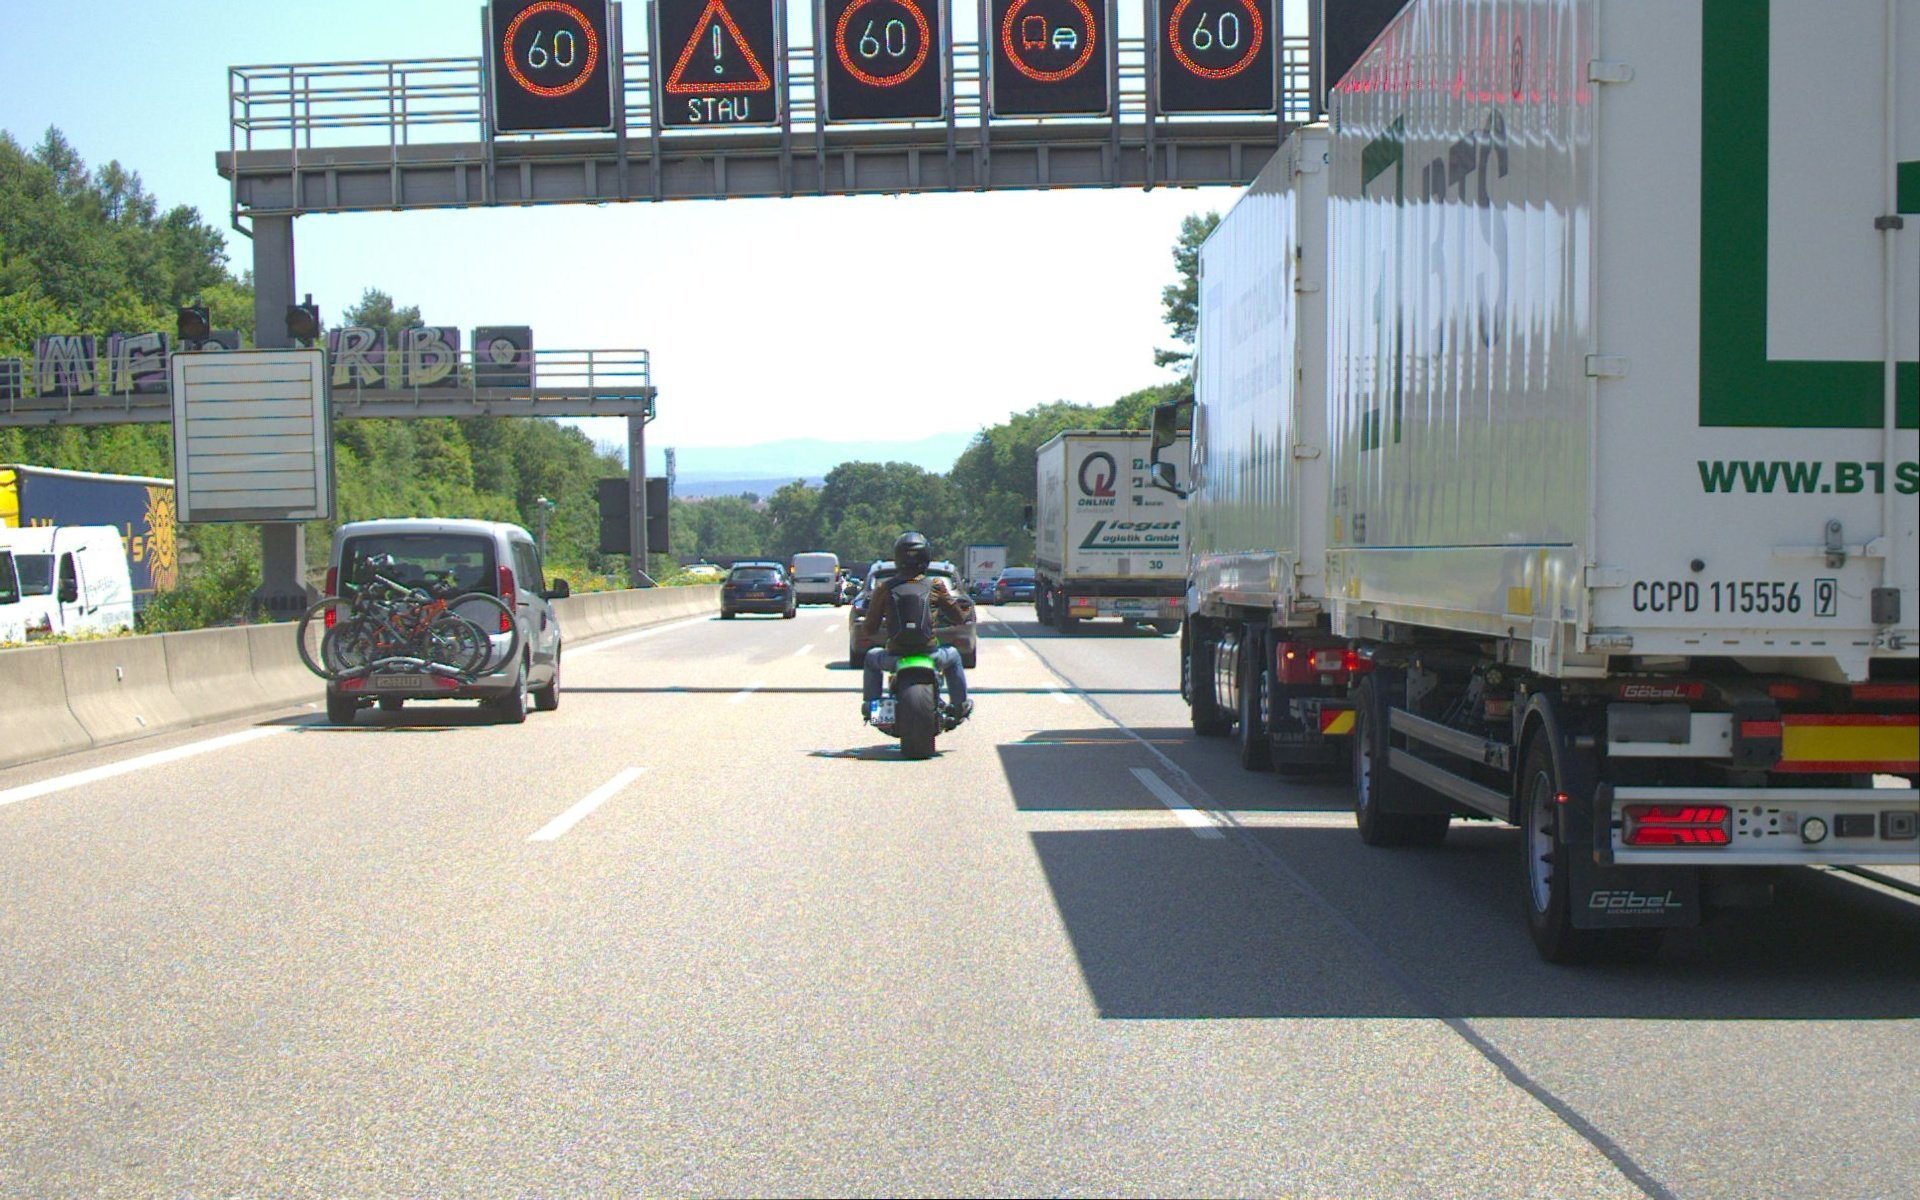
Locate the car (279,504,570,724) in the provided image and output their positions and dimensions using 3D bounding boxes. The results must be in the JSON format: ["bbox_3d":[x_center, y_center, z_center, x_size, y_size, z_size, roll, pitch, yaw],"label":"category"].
[{"bbox_3d":[-4.835,0.106,31.783,1.898,1.841,5.483,0,0,-1],"label":"car"}]

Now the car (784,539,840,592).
[{"bbox_3d":[-5.153,-1.212,120.297,1.831,1.804,4.120,0,1,-1],"label":"car"}]

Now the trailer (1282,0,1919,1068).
[{"bbox_3d":[3.283,-0.818,14.769,2.680,4.161,10.066,0,1,-1],"label":"trailer"}]

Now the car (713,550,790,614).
[{"bbox_3d":[-5.315,-0.480,88.026,1.758,1.538,4.395,0,1,-1],"label":"car"}]

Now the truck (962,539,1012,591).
[{"bbox_3d":[1.779,-2.361,230.609,3.067,3.335,9.652,1,1,-1],"label":"truck"}]

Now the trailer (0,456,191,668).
[{"bbox_3d":[-20.119,-0.803,75.488,2.978,4.193,14.465,-3,1,0],"label":"trailer"}]

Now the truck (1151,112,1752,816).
[{"bbox_3d":[3.132,-0.852,25.162,2.680,4.046,10.626,0,1,-1],"label":"truck"}]

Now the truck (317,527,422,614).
[{"bbox_3d":[-21.235,-1.114,123.988,2.579,2.982,7.063,-2,1,-1],"label":"truck"}]

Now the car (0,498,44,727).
[{"bbox_3d":[-12.185,0.178,39.543,1.998,2.664,4.846,-2,1,-1],"label":"car"}]

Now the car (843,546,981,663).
[{"bbox_3d":[-0.681,0.022,48.653,1.845,1.552,4.440,0,1,-1],"label":"car"}]

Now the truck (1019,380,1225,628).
[{"bbox_3d":[3.263,-1.961,75.029,3.383,4.702,17.709,1,1,-1],"label":"truck"}]

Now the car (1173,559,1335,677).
[{"bbox_3d":[4.130,0.223,48.920,1.845,1.552,4.392,0,1,-1],"label":"car"}]

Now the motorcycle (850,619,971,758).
[{"bbox_3d":[-0.349,0.639,25.717,0.862,0.978,2.131,0,0,0],"label":"motorcycle"}]

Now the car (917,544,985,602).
[{"bbox_3d":[-0.268,-0.760,95.351,1.831,1.553,4.120,0,1,-1],"label":"car"}]

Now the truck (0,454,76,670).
[{"bbox_3d":[-20.134,-0.717,69.075,2.951,4.188,6.458,-3,1,-1],"label":"truck"}]

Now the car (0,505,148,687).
[{"bbox_3d":[-14.732,-0.082,53.672,2.754,2.664,5.684,-2,1,-1],"label":"car"}]

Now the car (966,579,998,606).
[{"bbox_3d":[1.294,-0.443,206.464,1.831,1.521,4.027,0,1,-1],"label":"car"}]

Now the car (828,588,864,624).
[{"bbox_3d":[-6.094,0.315,184.616,1.831,1.804,4.120,0,1,-1],"label":"car"}]

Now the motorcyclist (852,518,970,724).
[{"bbox_3d":[-0.359,0.150,25.645,0.856,1.510,0.914,0,0,0],"label":"motorcyclist"}]

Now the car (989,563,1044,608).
[{"bbox_3d":[2.026,-0.538,123.867,1.831,1.521,4.027,0,1,-1],"label":"car"}]
